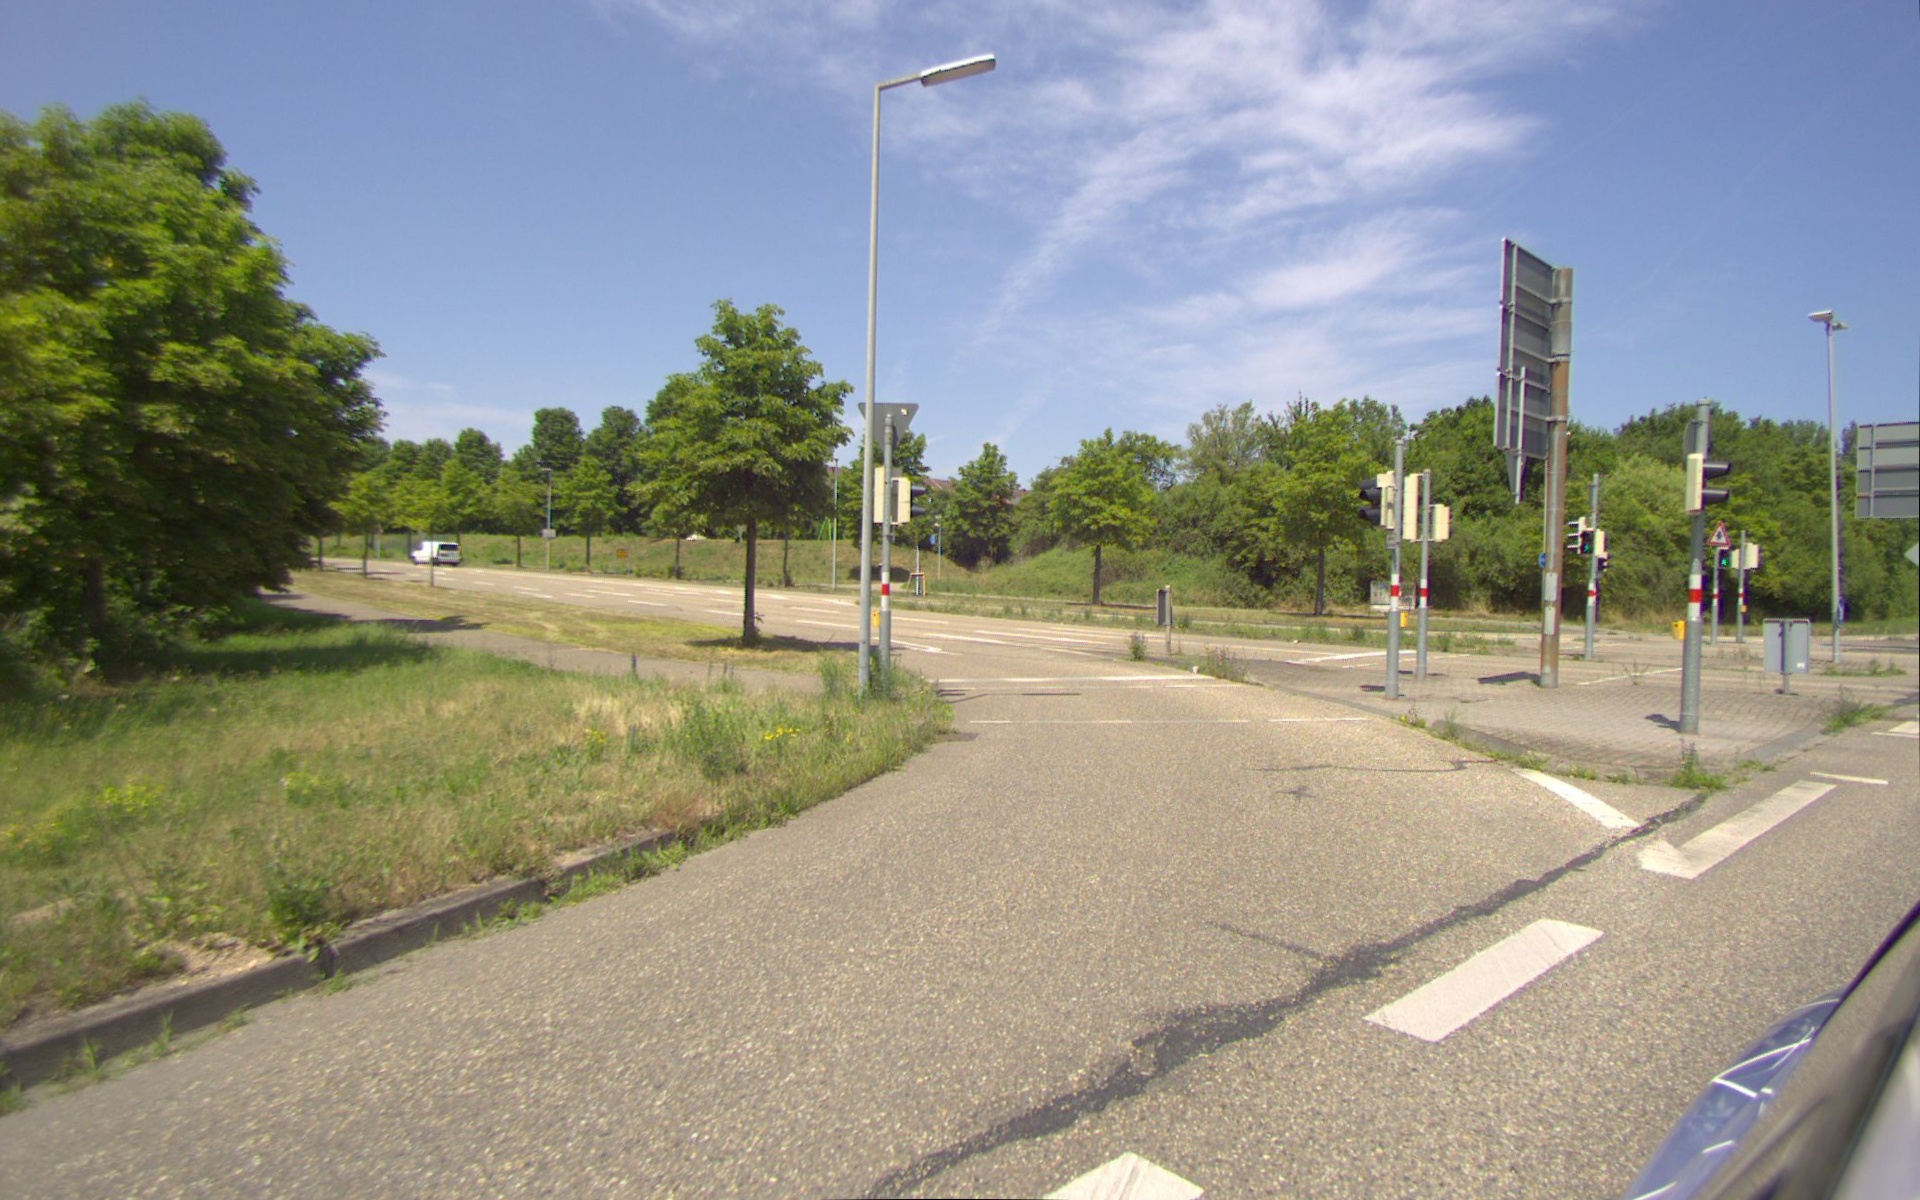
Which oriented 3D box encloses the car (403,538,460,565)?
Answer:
[{"bbox_3d":[-40.299,-3.696,77.124,4.881,1.840,1.841,4,2,37],"label":"car"}]
